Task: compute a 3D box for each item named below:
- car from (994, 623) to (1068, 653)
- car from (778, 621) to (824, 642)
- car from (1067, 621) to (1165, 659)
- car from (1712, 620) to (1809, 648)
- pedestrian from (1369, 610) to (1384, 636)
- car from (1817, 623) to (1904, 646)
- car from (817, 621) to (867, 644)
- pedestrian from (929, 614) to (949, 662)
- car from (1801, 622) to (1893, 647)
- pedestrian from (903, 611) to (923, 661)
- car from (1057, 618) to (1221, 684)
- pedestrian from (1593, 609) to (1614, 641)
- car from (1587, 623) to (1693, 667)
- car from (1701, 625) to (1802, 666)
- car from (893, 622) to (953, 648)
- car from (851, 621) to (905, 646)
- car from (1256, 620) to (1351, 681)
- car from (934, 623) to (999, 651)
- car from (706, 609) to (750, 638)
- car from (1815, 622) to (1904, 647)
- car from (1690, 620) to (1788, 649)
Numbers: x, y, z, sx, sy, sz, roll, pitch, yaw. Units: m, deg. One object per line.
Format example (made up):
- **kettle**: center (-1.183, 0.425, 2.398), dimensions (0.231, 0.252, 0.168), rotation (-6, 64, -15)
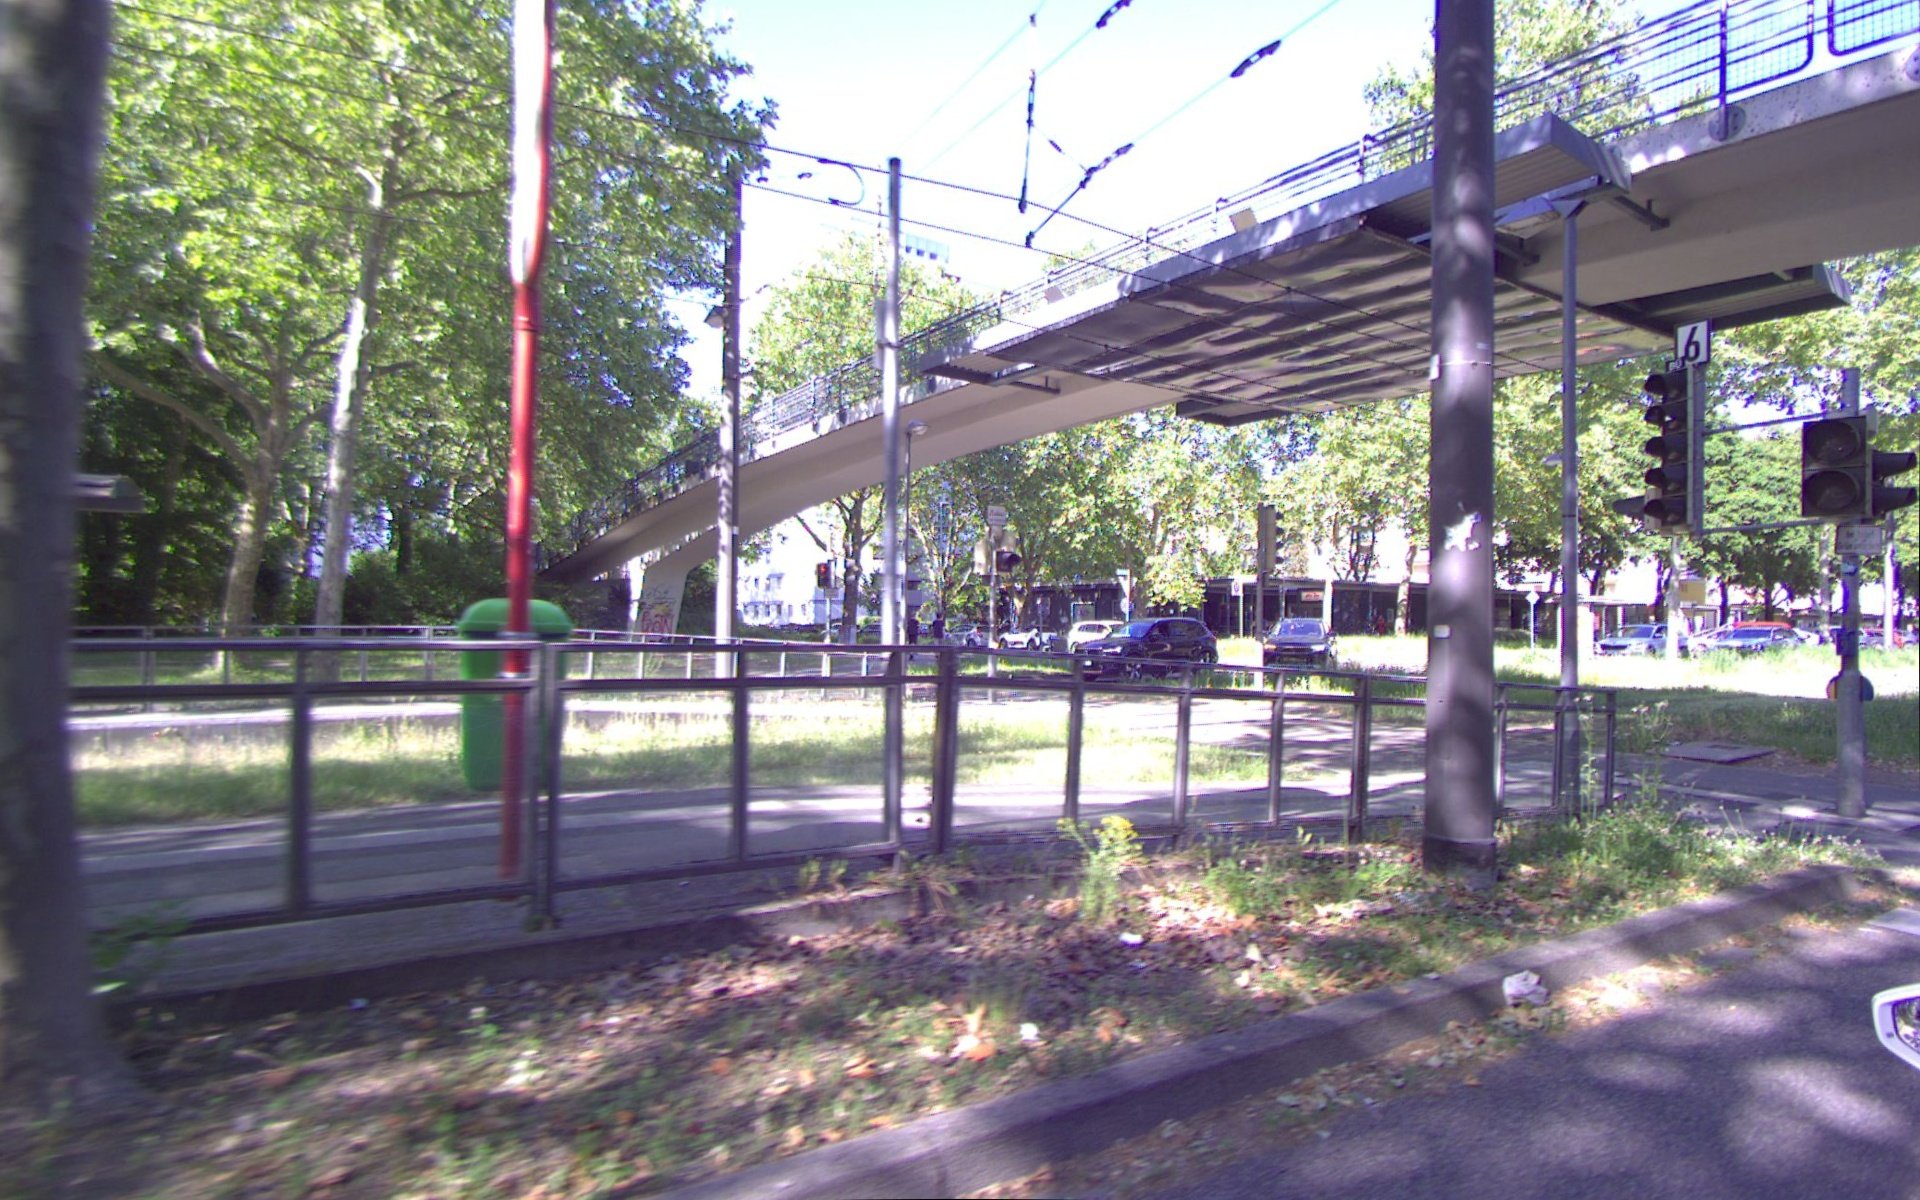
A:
- **car**: center (3.701, 1.983, 52.981), dimensions (1.783, 1.530, 3.960), rotation (1, -1, -36)
- **car**: center (-11.920, 2.315, 75.070), dimensions (1.783, 1.530, 3.960), rotation (1, -1, -36)
- **car**: center (6.559, 1.664, 42.603), dimensions (1.783, 1.530, 4.045), rotation (1, -1, -36)
- **car**: center (45.935, 1.953, 57.721), dimensions (3.919, 1.530, 1.801), rotation (0, -1, 14)
- **pedestrian**: center (27.171, 1.468, 65.497), dimensions (0.644, 1.683, 0.644), rotation (1, -1, -35)
- **car**: center (60.319, 2.294, 67.347), dimensions (3.919, 1.530, 1.801), rotation (0, -1, 14)
- **car**: center (-8.291, 2.249, 70.249), dimensions (1.783, 1.530, 3.960), rotation (1, -1, -36)
- **pedestrian**: center (-0.782, 1.385, 36.845), dimensions (0.638, 1.728, 0.649), rotation (0, -1, -9)
- **car**: center (55.469, 2.152, 62.898), dimensions (3.919, 1.530, 1.801), rotation (0, -1, 14)
- **pedestrian**: center (-1.713, 1.314, 36.683), dimensions (0.638, 1.807, 0.649), rotation (0, -1, -9)
- **car**: center (4.736, 1.293, 26.343), dimensions (4.244, 1.587, 1.783), rotation (1, -1, -35)
- **pedestrian**: center (30.361, 1.167, 47.398), dimensions (0.642, 1.479, 0.645), rotation (1, -1, -28)
- **car**: center (26.258, 1.701, 38.766), dimensions (4.237, 1.601, 1.786), rotation (1, -1, -30)
- **car**: center (31.807, 1.794, 40.330), dimensions (4.624, 1.530, 1.784), rotation (1, -1, -33)
- **car**: center (-2.318, 2.121, 61.588), dimensions (1.783, 1.530, 3.960), rotation (1, -1, -36)
- **car**: center (-5.407, 2.178, 65.808), dimensions (1.783, 1.530, 3.960), rotation (1, -1, -36)
- **car**: center (9.933, 1.390, 28.871), dimensions (1.768, 1.587, 4.279), rotation (0, -1, 30)
- **car**: center (0.325, 2.082, 57.756), dimensions (1.783, 1.530, 3.960), rotation (1, -1, -36)
- **car**: center (-20.264, 2.026, 87.571), dimensions (2.042, 2.468, 4.958), rotation (1, -1, -36)
- **car**: center (58.214, 2.237, 65.082), dimensions (3.919, 1.530, 1.801), rotation (0, -1, 14)
- **car**: center (43.260, 1.911, 55.862), dimensions (3.919, 1.530, 1.801), rotation (0, -1, 14)
